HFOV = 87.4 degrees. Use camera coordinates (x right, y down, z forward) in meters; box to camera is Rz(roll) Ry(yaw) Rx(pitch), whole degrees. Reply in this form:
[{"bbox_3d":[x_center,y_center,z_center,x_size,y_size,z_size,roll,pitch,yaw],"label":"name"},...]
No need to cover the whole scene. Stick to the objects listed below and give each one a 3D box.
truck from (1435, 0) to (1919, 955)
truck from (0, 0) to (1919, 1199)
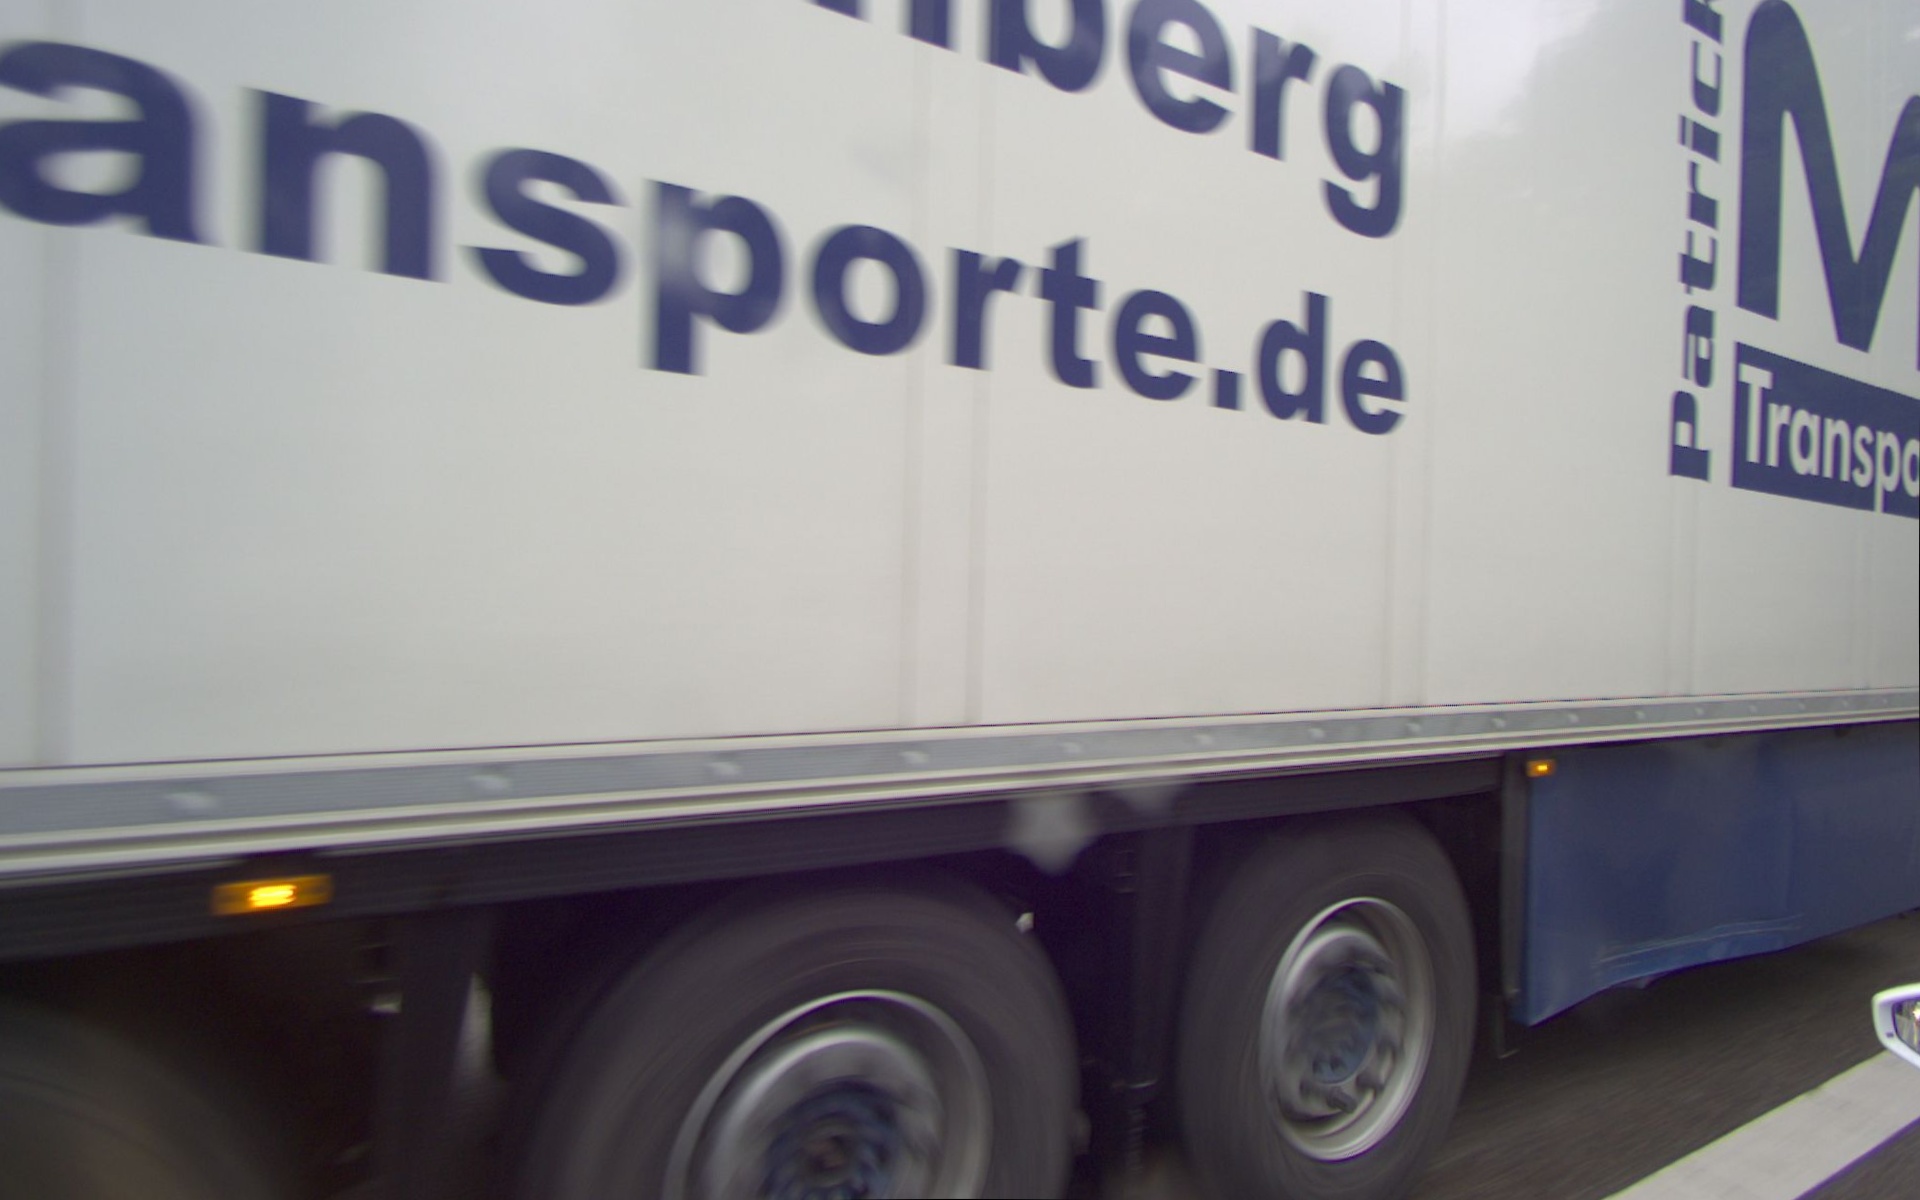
[{"bbox_3d":[6.636,-0.513,6.983,6.706,4.253,2.748,1,0,-31],"label":"truck"},{"bbox_3d":[0.813,-0.736,3.483,12.880,4.253,2.748,1,0,-31],"label":"truck"}]
